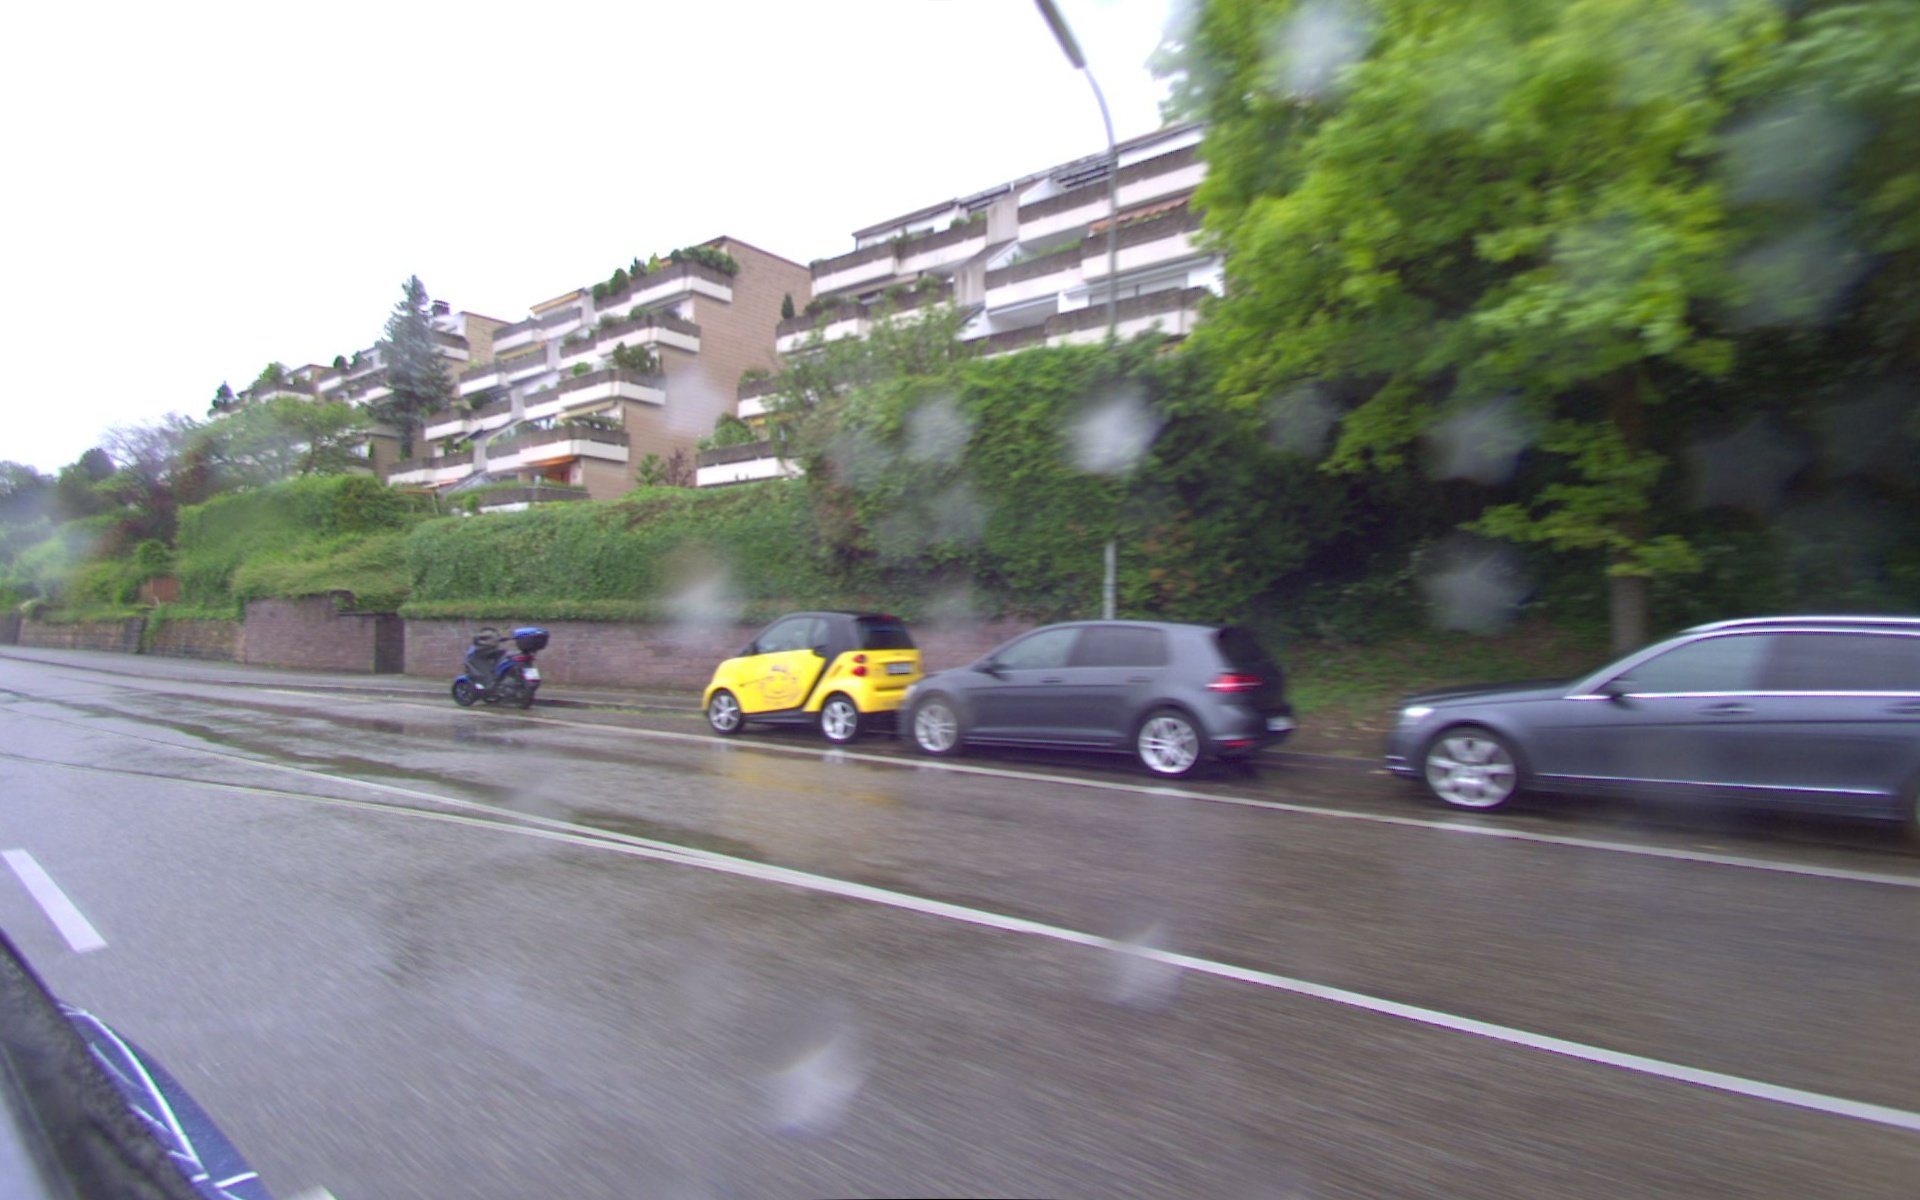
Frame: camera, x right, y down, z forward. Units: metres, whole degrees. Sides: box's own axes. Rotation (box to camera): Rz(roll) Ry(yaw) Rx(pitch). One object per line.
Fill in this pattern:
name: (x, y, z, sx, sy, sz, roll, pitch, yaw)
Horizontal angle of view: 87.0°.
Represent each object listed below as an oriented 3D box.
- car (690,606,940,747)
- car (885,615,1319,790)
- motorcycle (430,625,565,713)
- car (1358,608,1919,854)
car: (-1.809, 0.872, 12.528, 2.810, 1.549, 1.422, -1, -2, 32)
car: (1.284, 0.876, 10.070, 4.095, 1.430, 1.421, -1, -2, 35)
motorcycle: (-7.623, 1.092, 16.642, 2.492, 1.351, 0.830, -1, -2, 34)
car: (5.462, 0.790, 7.061, 4.734, 1.430, 1.670, -1, -2, 38)
